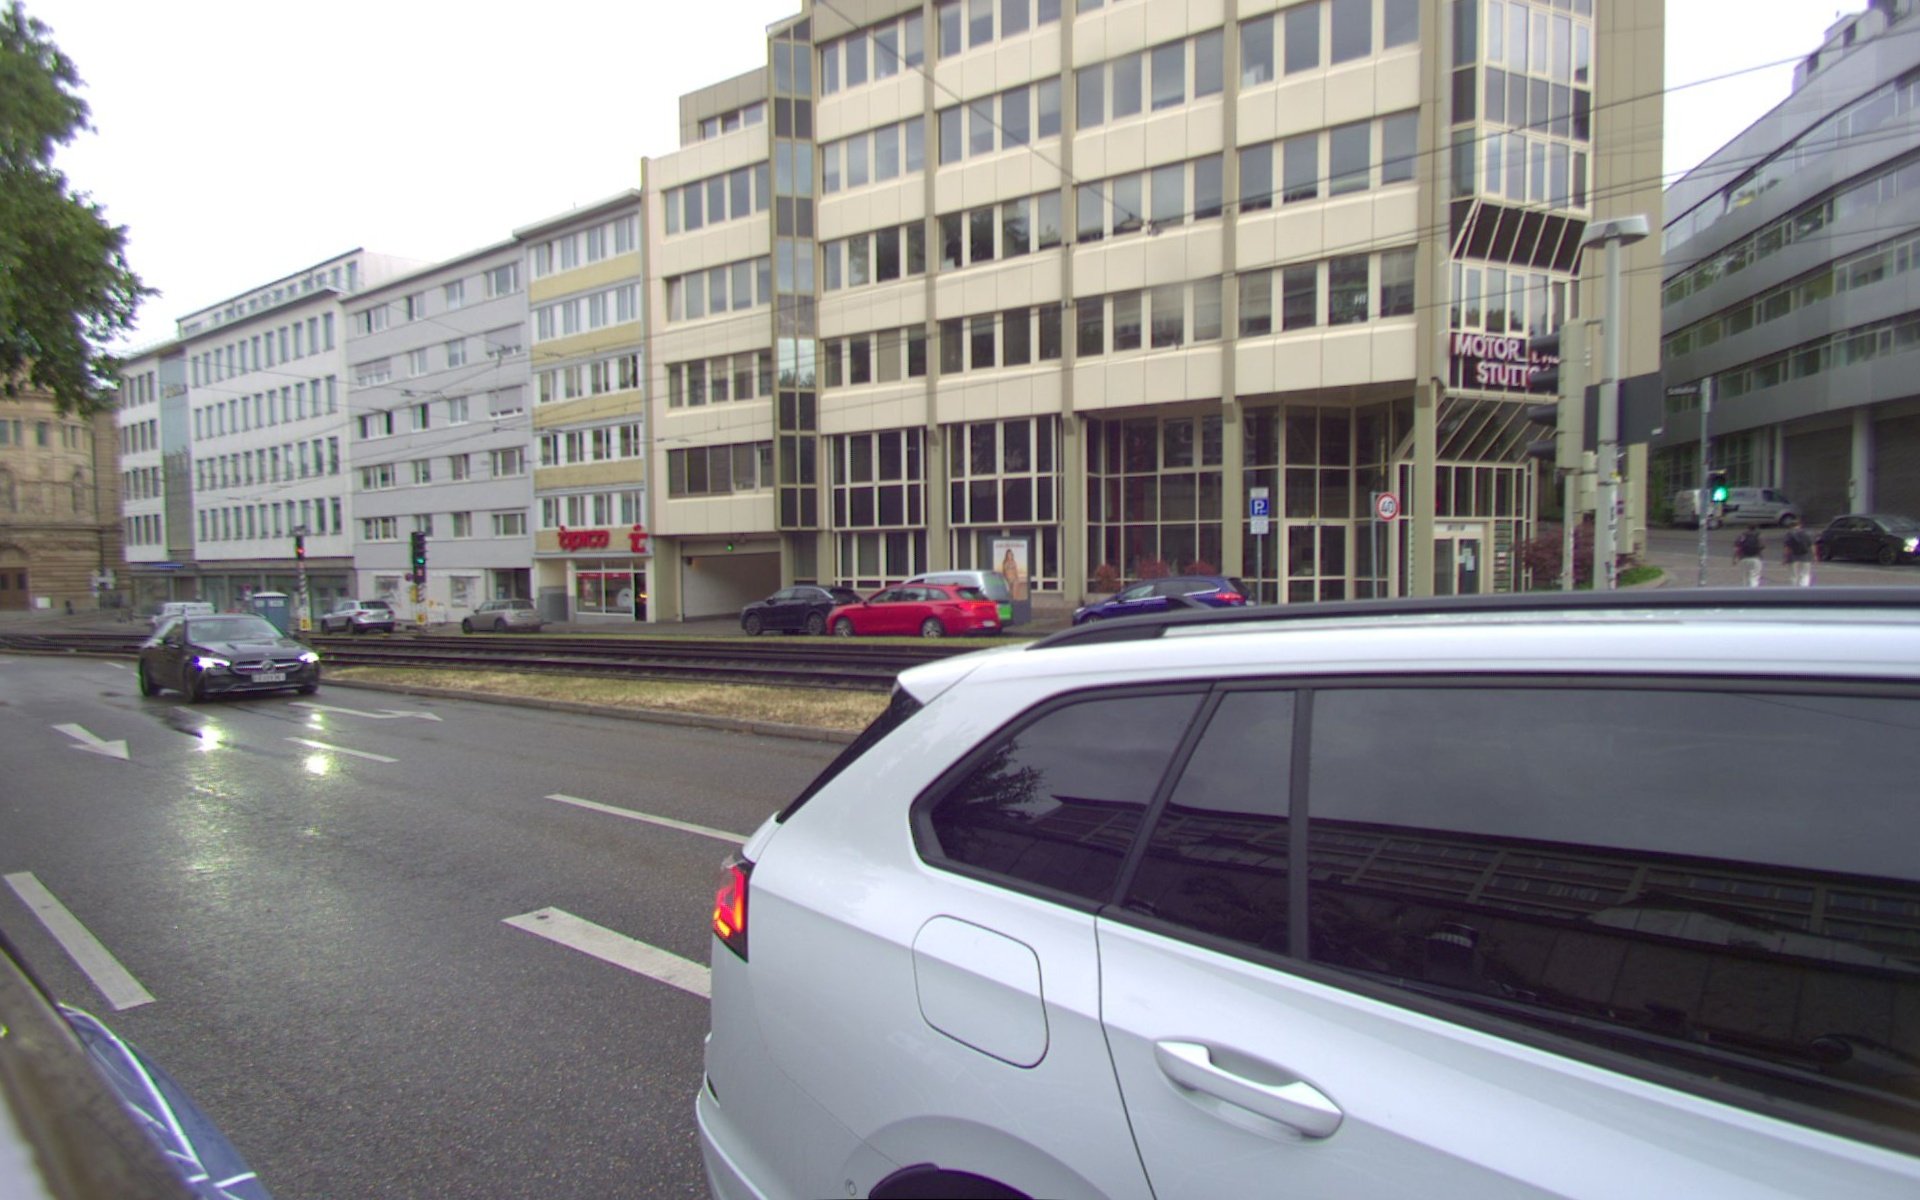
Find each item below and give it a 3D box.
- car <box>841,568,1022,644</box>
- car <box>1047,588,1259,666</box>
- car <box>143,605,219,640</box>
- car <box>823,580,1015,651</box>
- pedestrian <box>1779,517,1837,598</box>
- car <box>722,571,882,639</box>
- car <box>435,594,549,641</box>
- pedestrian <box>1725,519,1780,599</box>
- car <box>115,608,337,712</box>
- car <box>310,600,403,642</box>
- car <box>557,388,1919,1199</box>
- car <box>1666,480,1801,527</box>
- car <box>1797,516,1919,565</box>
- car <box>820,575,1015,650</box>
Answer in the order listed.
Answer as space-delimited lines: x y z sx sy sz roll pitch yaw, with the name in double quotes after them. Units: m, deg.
-0.821 0.119 28.004 4.682 1.863 1.978 0 4 34 "car"
4.556 0.575 24.068 4.536 1.593 1.978 0 4 34 "car"
-46.804 1.334 60.755 5.117 1.856 1.978 0 4 34 "car"
-1.041 0.332 24.668 4.315 1.498 1.978 0 4 34 "car"
19.158 -0.961 22.881 0.804 1.800 0.637 -1 3 18 "pedestrian"
-4.851 0.120 30.919 4.682 1.863 1.978 0 4 34 "car"
-18.917 0.651 40.838 4.682 1.686 1.978 0 4 34 "car"
18.176 -0.938 23.230 0.804 1.800 0.637 -1 3 18 "pedestrian"
-12.893 0.974 17.670 4.638 1.478 1.974 -2 2 39 "car"
-28.329 0.994 47.440 4.686 1.686 1.977 -2 3 36 "car"
1.348 0.617 1.272 4.251 1.588 1.662 -1 1 41 "car"
37.274 -4.630 48.910 4.779 2.028 1.996 -2 3 8 "car"
27.717 -1.802 30.316 1.803 1.374 4.004 -2 3 -3 "car"
-1.061 0.276 24.758 4.401 1.652 1.966 0 2 31 "car"
